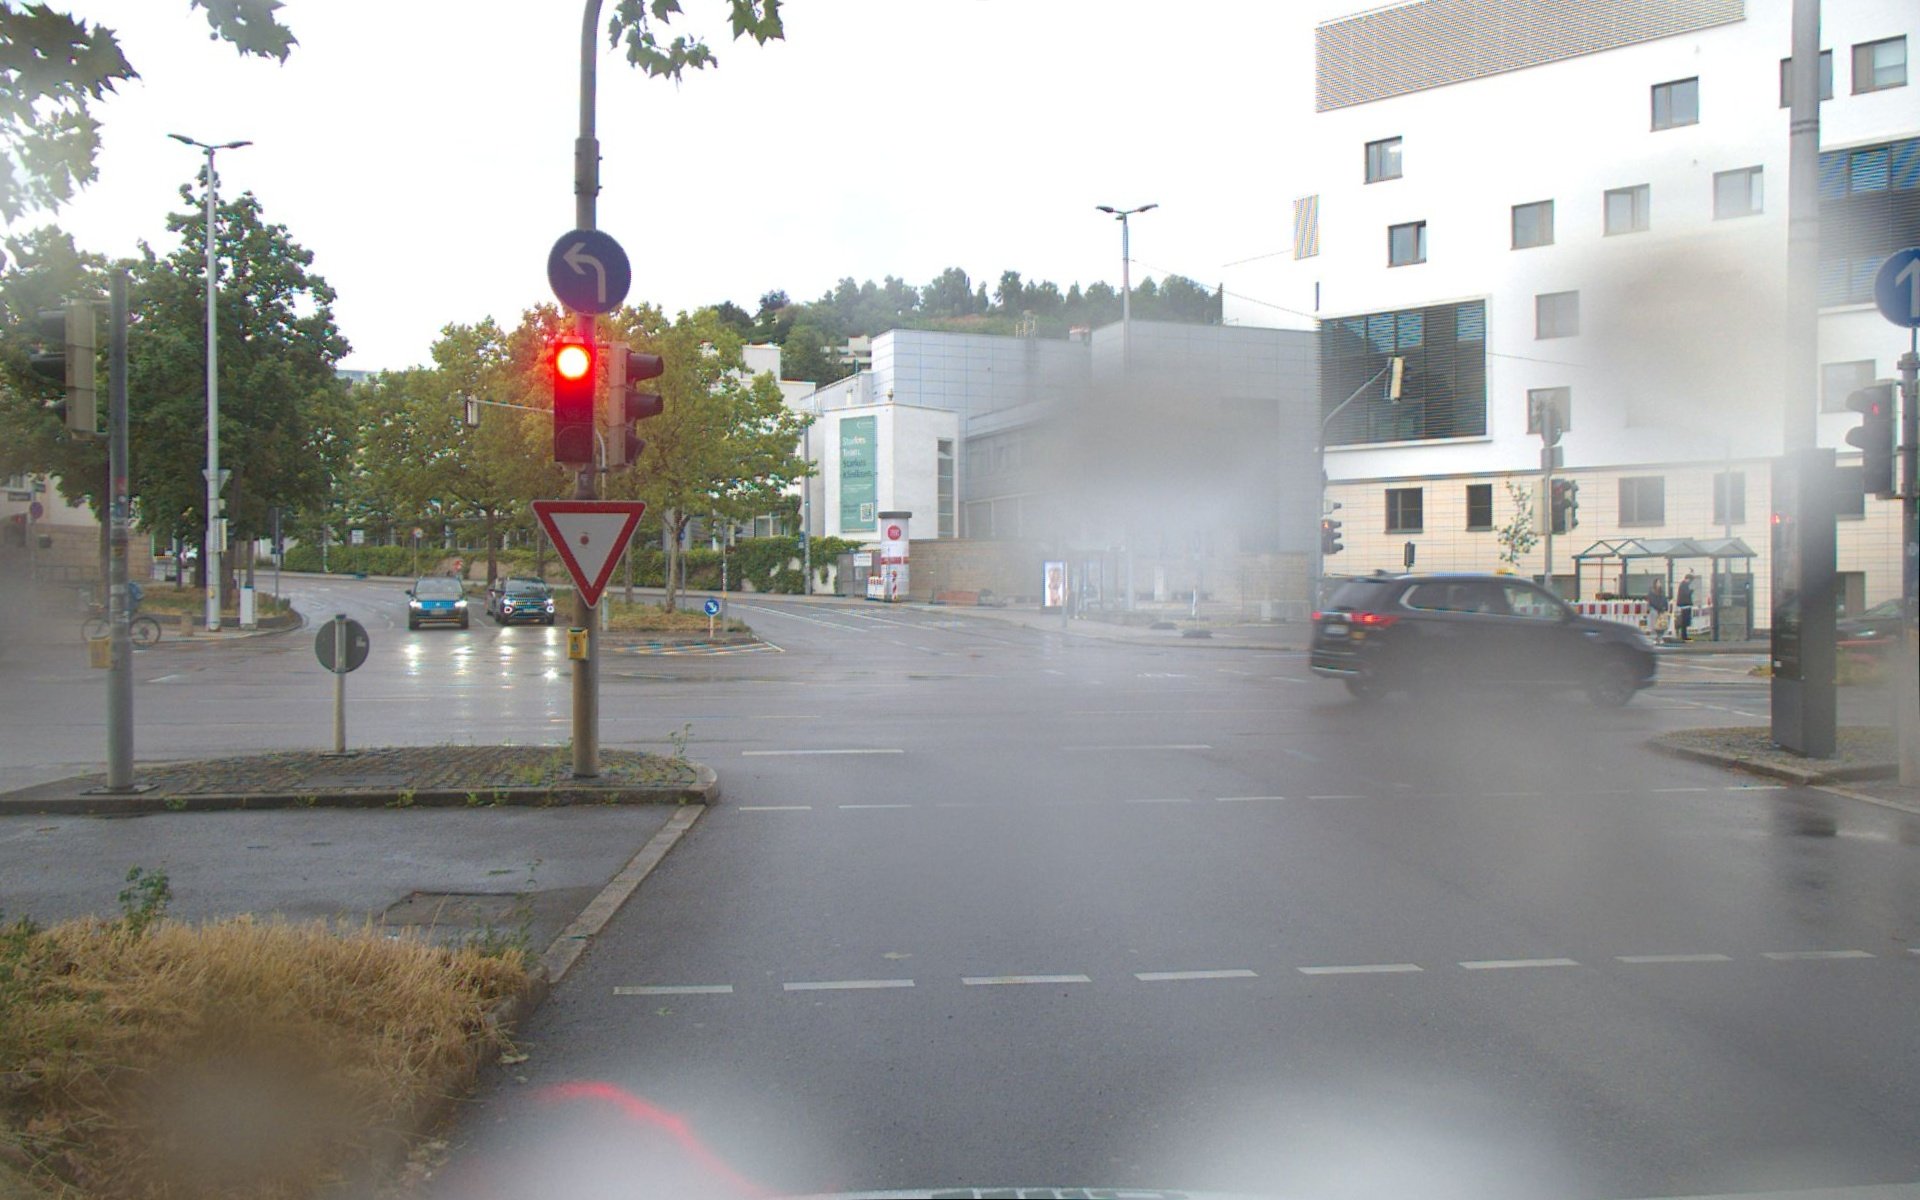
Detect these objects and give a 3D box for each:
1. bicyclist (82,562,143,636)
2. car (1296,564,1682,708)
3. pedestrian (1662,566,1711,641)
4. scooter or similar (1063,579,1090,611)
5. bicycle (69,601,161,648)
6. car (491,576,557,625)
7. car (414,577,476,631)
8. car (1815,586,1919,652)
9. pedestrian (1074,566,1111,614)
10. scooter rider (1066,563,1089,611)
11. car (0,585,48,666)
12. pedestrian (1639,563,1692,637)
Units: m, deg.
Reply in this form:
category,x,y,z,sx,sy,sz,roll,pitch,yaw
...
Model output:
category,x,y,z,sx,sy,sz,roll,pitch,yaw
bicyclist,-19.545,-0.012,38.164,1.107,1.661,0.699,2,-1,-18
car,6.833,0.413,21.416,4.600,1.735,1.789,0,1,-18
pedestrian,19.555,0.099,44.534,0.980,1.969,0.955,1,-1,9
scooter or similar,4.678,-0.184,66.528,0.582,1.260,1.305,2,-1,-22
bicycle,-19.491,0.563,38.195,1.787,1.075,0.645,1,-1,-18
car,-15.182,-0.021,57.482,1.764,1.612,3.973,0,1,-22
car,-16.662,0.092,53.512,1.839,1.591,4.255,-1,2,-18
car,22.449,0.461,38.955,3.921,1.469,1.790,2,0,-16
pedestrian,4.951,-0.355,61.721,1.232,1.749,1.016,1,-1,-2
scooter rider,4.712,-0.511,66.449,0.713,1.916,0.628,2,-1,-21
car,-19.026,0.429,29.590,4.291,1.402,1.997,0,1,-8
pedestrian,18.117,0.010,42.472,0.934,1.872,0.821,2,-1,-12
